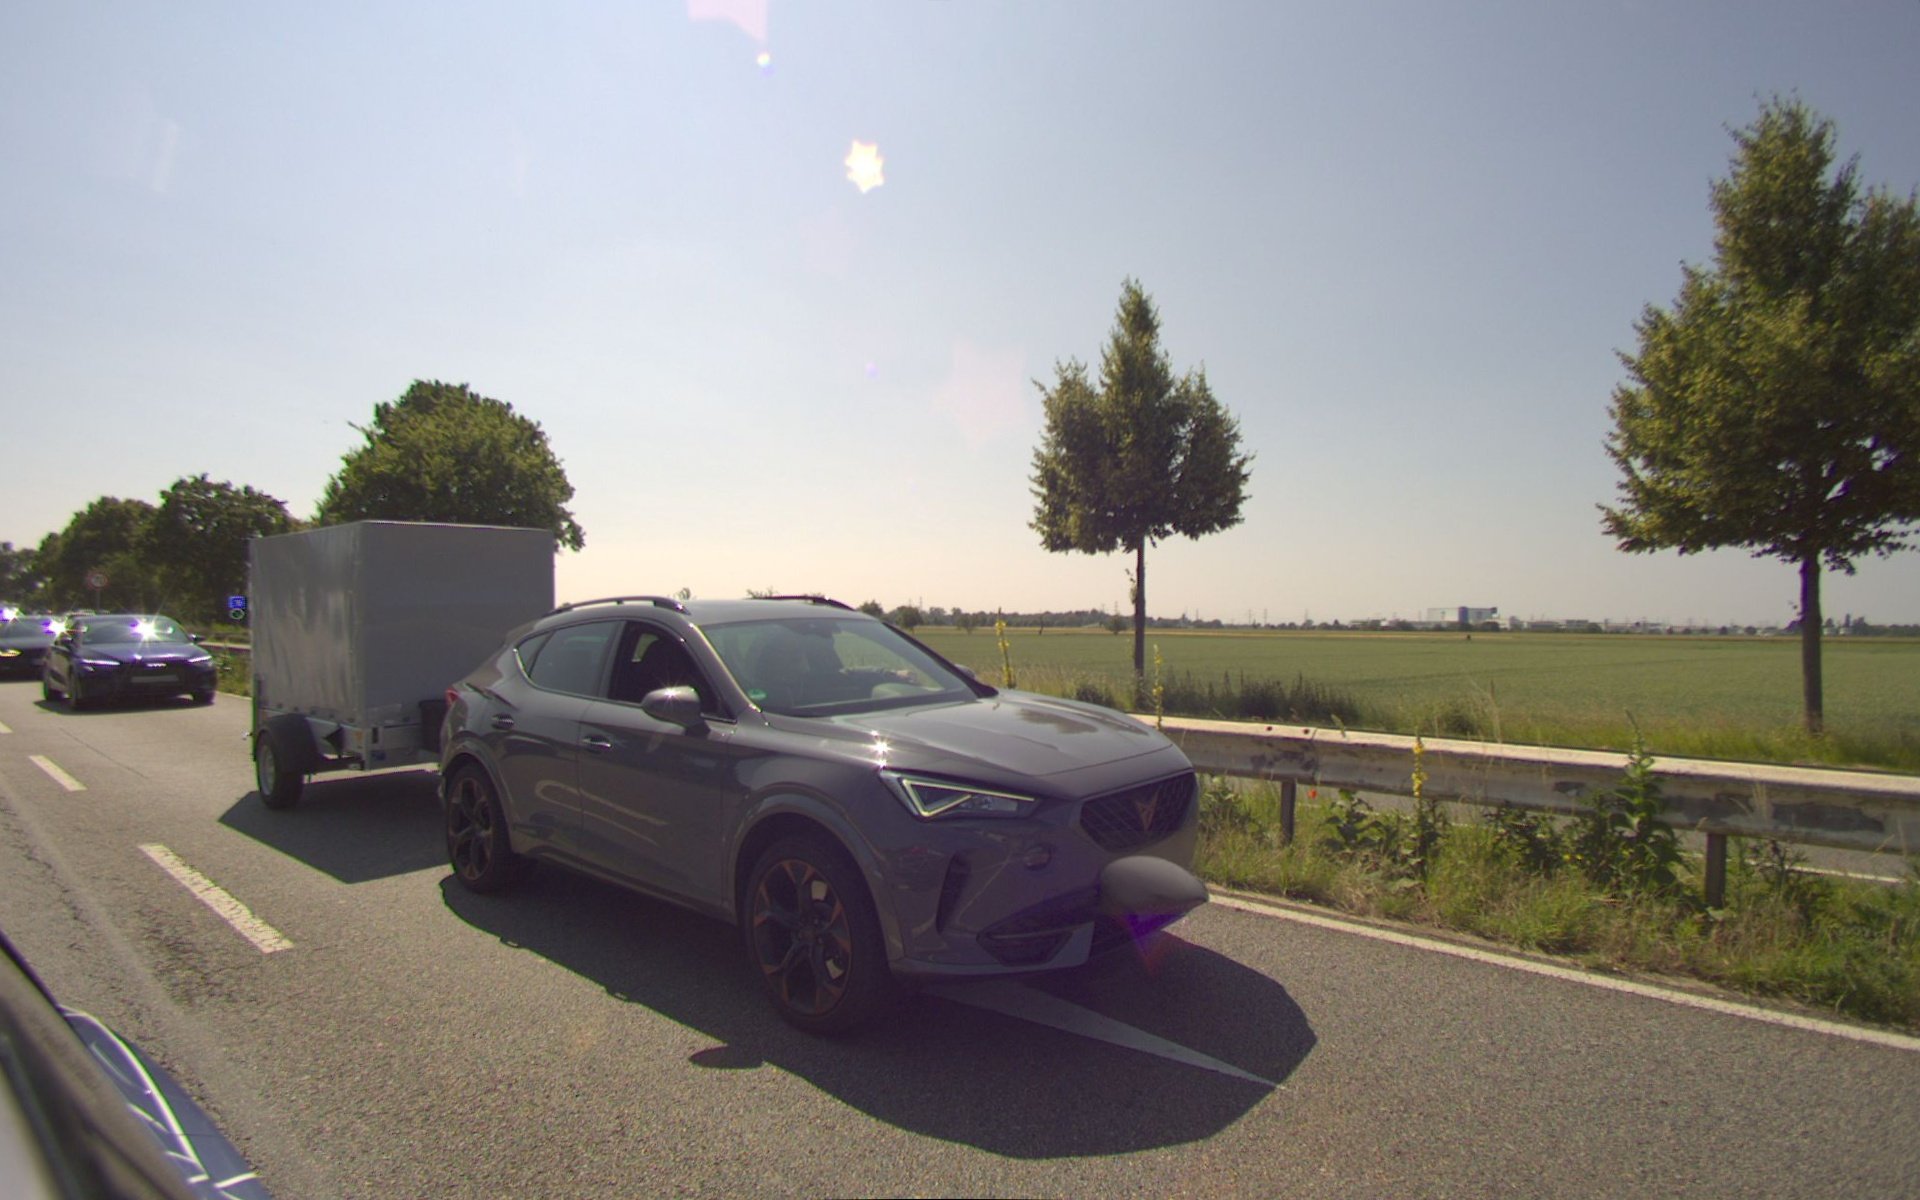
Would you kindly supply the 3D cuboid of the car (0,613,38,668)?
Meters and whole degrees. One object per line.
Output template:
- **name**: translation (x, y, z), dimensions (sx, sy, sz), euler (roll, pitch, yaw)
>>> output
- **car**: translation (-28.220, 1.145, 29.376), dimensions (4.100, 1.527, 1.835), euler (-1, -1, 43)

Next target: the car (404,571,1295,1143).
- **car**: translation (-0.882, 0.711, 4.794), dimensions (4.361, 1.514, 1.727), euler (-1, -1, 42)

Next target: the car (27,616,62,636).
- **car**: translation (-86.476, 2.436, 95.568), dimensions (4.694, 1.870, 1.838), euler (-1, -2, 41)

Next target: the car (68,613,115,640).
- **car**: translation (-65.380, 2.001, 76.152), dimensions (5.013, 1.945, 1.973), euler (-1, -2, 41)

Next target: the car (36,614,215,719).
- **car**: translation (-13.688, 0.986, 16.524), dimensions (4.029, 1.476, 1.699), euler (-1, -1, 42)

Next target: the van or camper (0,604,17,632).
- **van or camper**: translation (-109.498, 2.031, 115.378), dimensions (5.692, 3.123, 2.239), euler (-1, -2, 41)

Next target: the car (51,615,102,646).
- **car**: translation (-48.789, 1.684, 55.876), dimensions (4.136, 1.651, 1.726), euler (-1, -2, 43)

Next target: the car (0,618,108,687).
- **car**: translation (-21.002, 1.136, 23.183), dimensions (4.454, 1.391, 1.722), euler (-1, 0, 42)

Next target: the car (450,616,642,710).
- **car**: translation (-8.066, 1.145, 19.561), dimensions (4.133, 1.630, 1.727), euler (-1, -2, 41)

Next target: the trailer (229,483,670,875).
- **trailer**: translation (-4.012, 0.471, 7.598), dimensions (4.171, 2.190, 1.485), euler (-1, -1, 41)
